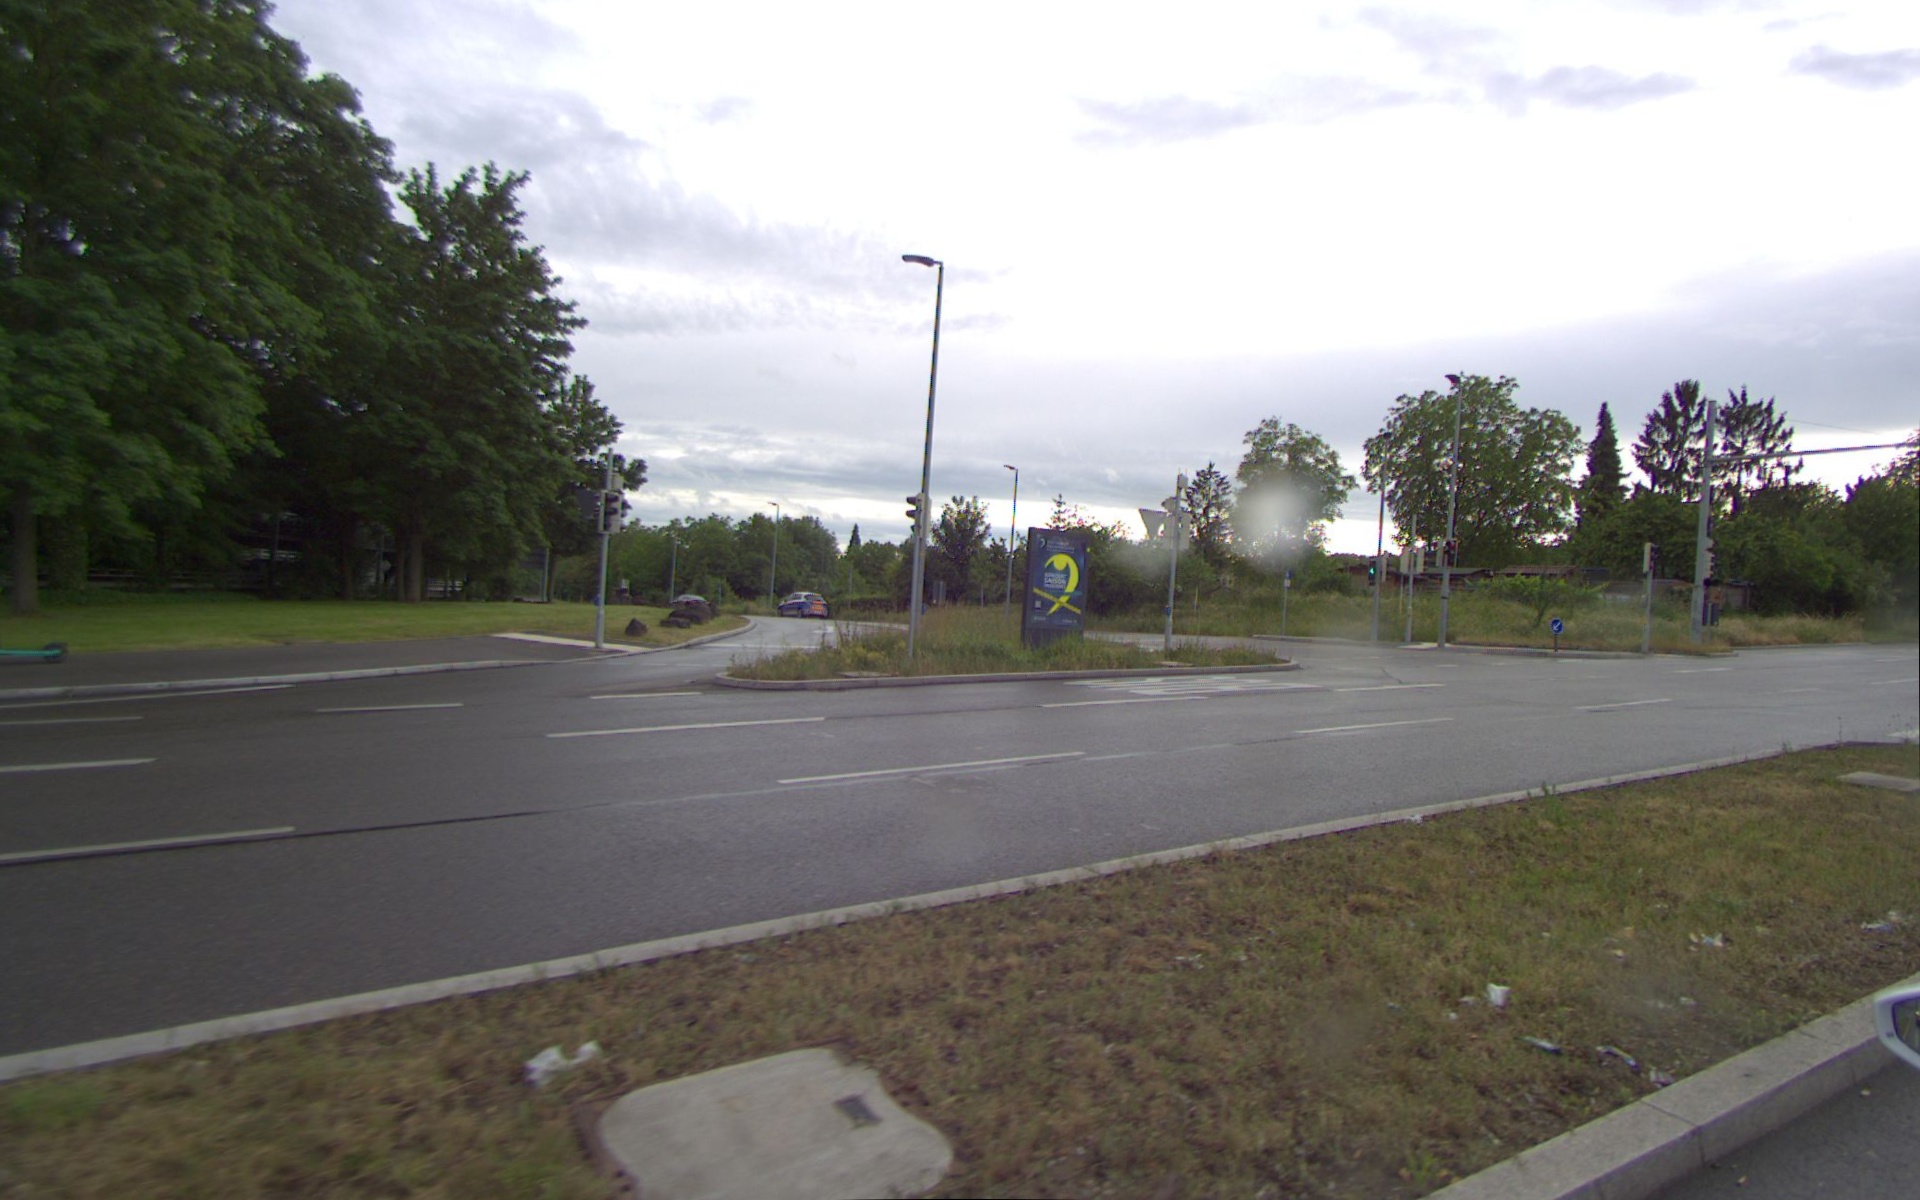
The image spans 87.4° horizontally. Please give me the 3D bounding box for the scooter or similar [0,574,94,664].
[{"bbox_3d":[-13.118,0.260,14.209,1.299,1.234,0.308,1,2,-45],"label":"scooter or similar"}]

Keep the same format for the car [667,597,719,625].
[{"bbox_3d":[-19.727,0.778,74.002,2.152,1.603,4.616,3,2,-35],"label":"car"}]

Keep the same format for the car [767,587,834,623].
[{"bbox_3d":[-9.452,0.291,59.281,2.065,1.741,4.151,3,2,-38],"label":"car"}]
